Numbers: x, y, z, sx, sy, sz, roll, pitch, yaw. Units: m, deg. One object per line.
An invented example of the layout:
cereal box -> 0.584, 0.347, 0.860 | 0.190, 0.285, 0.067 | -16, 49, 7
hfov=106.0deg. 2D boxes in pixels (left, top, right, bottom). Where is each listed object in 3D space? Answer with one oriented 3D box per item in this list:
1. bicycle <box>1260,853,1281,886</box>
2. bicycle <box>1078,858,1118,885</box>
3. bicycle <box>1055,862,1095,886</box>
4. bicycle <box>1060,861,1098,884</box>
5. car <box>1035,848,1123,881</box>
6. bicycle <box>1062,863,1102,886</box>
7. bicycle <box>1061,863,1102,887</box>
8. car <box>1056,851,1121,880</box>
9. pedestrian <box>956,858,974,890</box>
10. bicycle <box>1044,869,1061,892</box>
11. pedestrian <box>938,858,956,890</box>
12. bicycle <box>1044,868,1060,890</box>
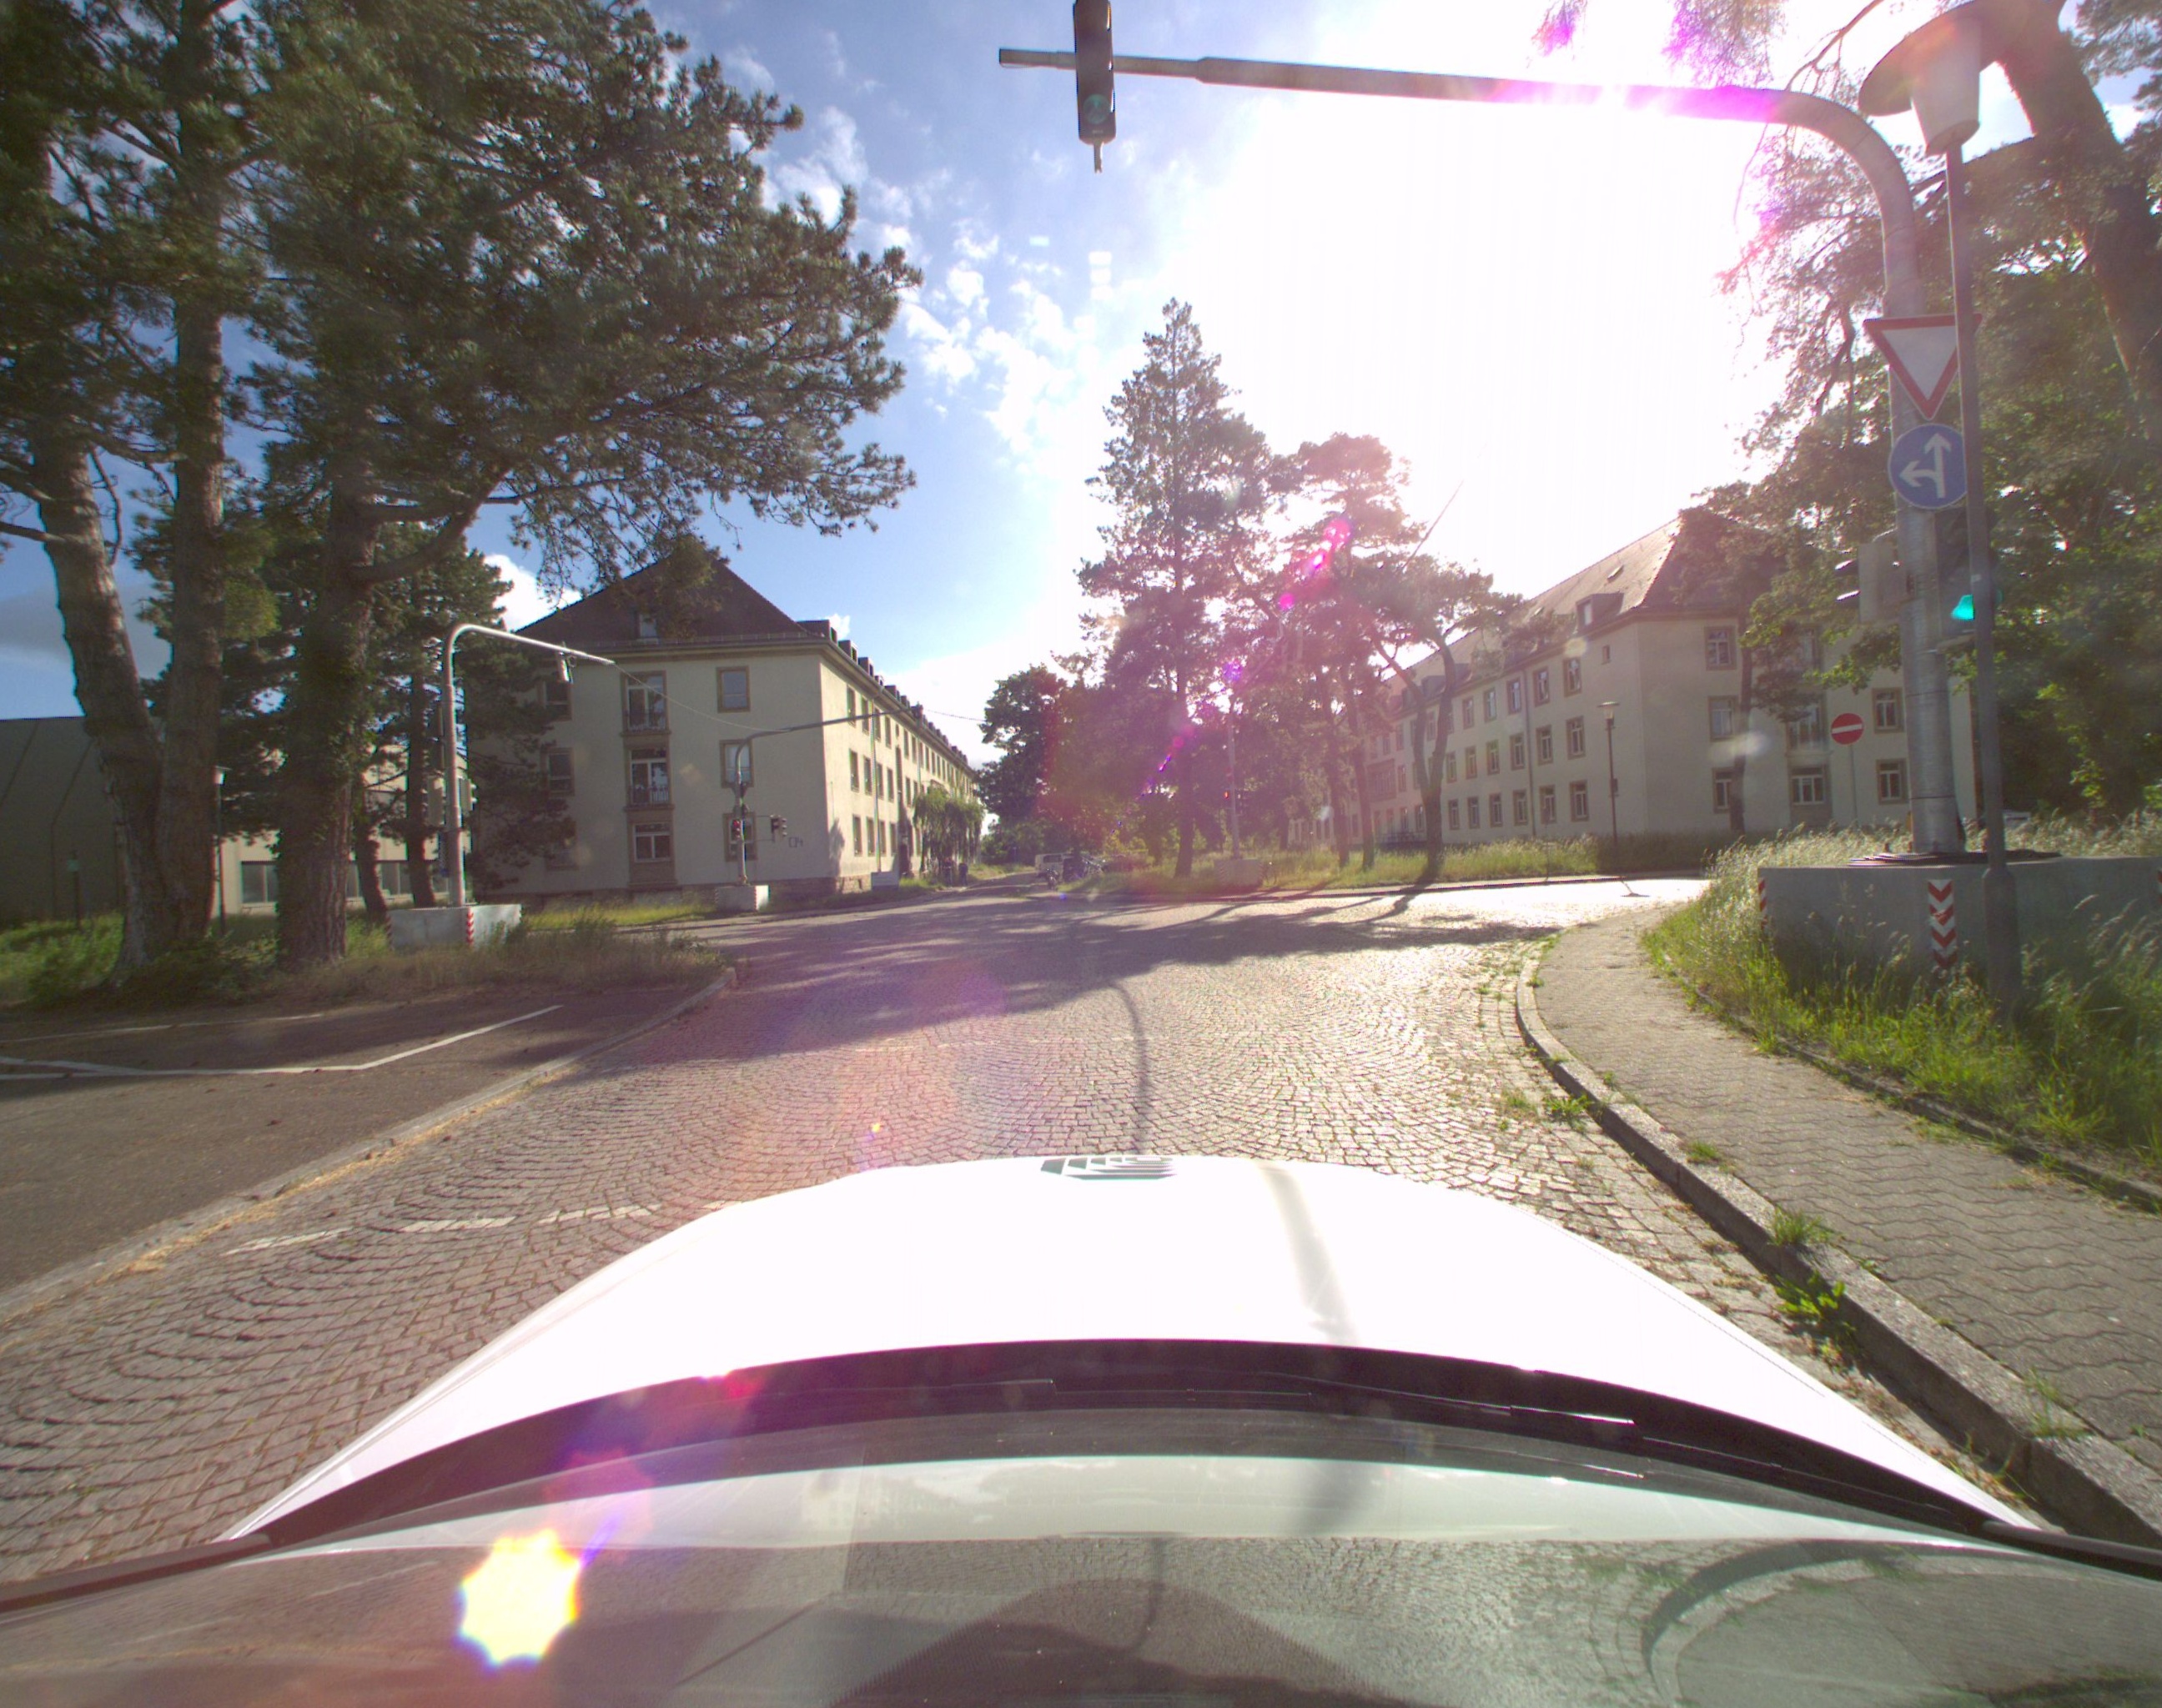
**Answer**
bicycle -> 6.549, 0.533, 28.176 | 0.464, 1.080, 1.174 | -3, -1, 2
bicycle -> 0.876, 0.895, 41.651 | 1.937, 1.235, 0.484 | -3, 0, -5
bicycle -> -0.325, 1.025, 42.133 | 1.952, 1.129, 0.642 | -3, 0, -28
bicycle -> -0.125, 0.975, 43.234 | 1.939, 1.129, 0.646 | -3, 0, -7
car -> -0.201, 0.710, 58.304 | 5.928, 2.013, 2.468 | -3, 0, -8
bicycle -> 0.043, 1.000, 40.132 | 1.851, 1.031, 0.749 | -3, 0, -4
bicycle -> 0.013, 1.049, 40.926 | 1.937, 1.129, 0.749 | -3, 0, -5
car -> 0.498, 0.770, 53.882 | 3.986, 1.684, 1.841 | -3, 0, -9
pedestrian -> -6.857, 1.169, 48.195 | 0.762, 1.817, 0.684 | -3, 0, 9
bicycle -> -1.302, 1.173, 36.619 | 0.694, 0.971, 1.858 | -2, 0, -3
pedestrian -> -7.874, 1.174, 47.789 | 0.807, 1.817, 0.556 | -3, 0, 9
bicycle -> -1.393, 1.183, 38.546 | 0.694, 0.971, 1.858 | -2, 0, -3
